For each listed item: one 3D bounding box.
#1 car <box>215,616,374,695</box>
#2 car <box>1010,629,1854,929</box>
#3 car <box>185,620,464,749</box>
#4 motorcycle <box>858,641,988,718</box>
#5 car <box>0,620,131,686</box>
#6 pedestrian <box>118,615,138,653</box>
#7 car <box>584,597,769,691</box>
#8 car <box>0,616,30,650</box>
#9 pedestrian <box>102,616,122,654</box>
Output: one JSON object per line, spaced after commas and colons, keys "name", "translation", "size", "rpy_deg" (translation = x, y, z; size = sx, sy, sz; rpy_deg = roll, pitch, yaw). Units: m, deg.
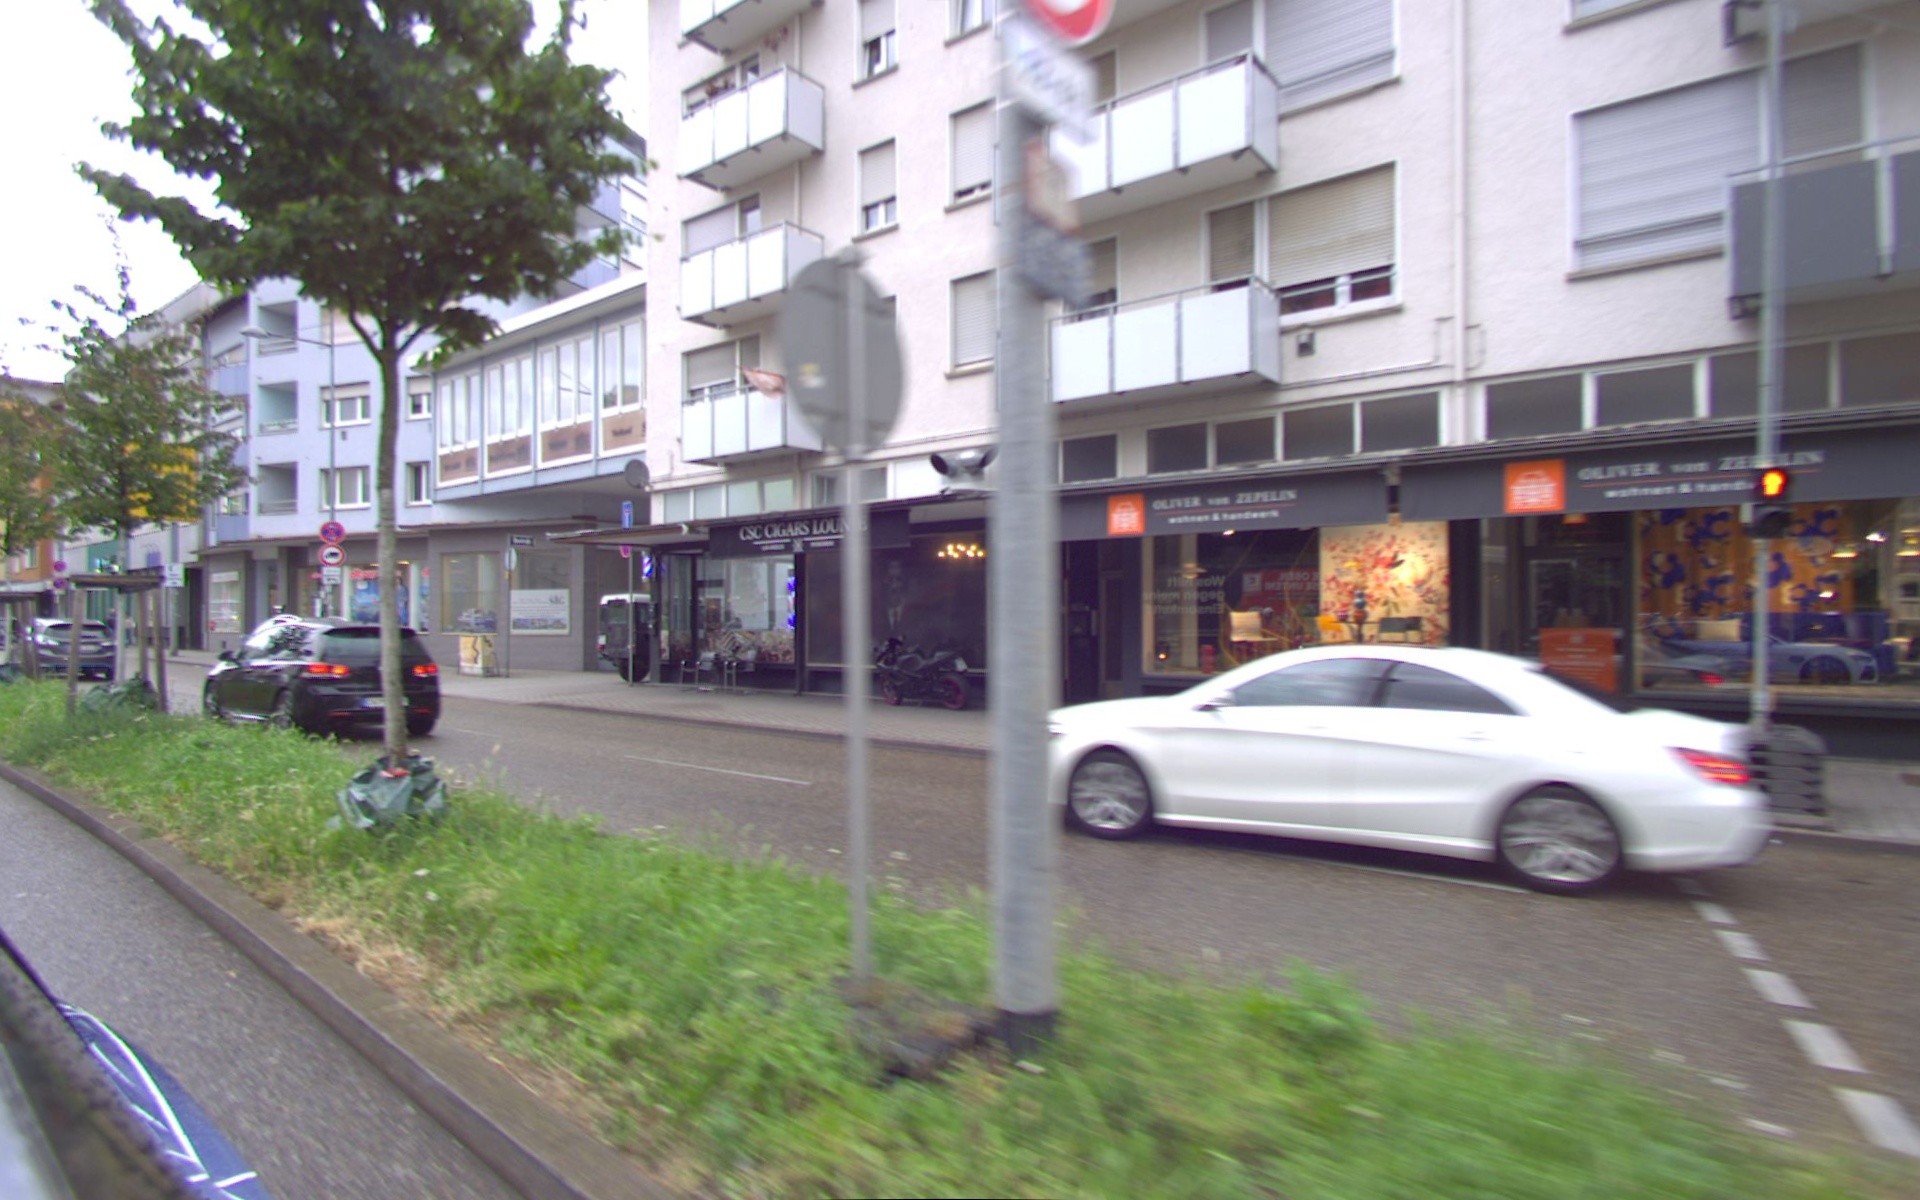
{"name": "car", "translation": [-14.893, 1.216, 22.590], "size": [4.021, 1.601, 1.755], "rpy_deg": [-1, -4, 38]}
{"name": "car", "translation": [2.799, 0.956, 6.887], "size": [4.598, 1.428, 1.831], "rpy_deg": [-1, -4, 31]}
{"name": "car", "translation": [-8.470, 1.034, 13.373], "size": [4.152, 1.452, 1.799], "rpy_deg": [-1, -4, 38]}
{"name": "motorcycle", "translation": [-0.629, 1.251, 16.423], "size": [2.193, 1.096, 0.662], "rpy_deg": [0, 1, 38]}
{"name": "car", "translation": [-21.555, 1.251, 24.323], "size": [3.835, 1.452, 1.681], "rpy_deg": [-1, -4, 38]}
{"name": "pedestrian", "translation": [-38.132, 1.553, 46.380], "size": [0.530, 1.701, 0.506], "rpy_deg": [1, -2, 39]}
{"name": "car", "translation": [-6.796, 1.029, 24.527], "size": [1.893, 2.070, 3.947], "rpy_deg": [-1, -2, 40]}
{"name": "car", "translation": [-44.676, 1.476, 46.776], "size": [4.197, 1.493, 1.829], "rpy_deg": [0, -3, 39]}
{"name": "pedestrian", "translation": [-38.504, 1.569, 45.935], "size": [0.530, 1.701, 0.520], "rpy_deg": [1, -2, 39]}
